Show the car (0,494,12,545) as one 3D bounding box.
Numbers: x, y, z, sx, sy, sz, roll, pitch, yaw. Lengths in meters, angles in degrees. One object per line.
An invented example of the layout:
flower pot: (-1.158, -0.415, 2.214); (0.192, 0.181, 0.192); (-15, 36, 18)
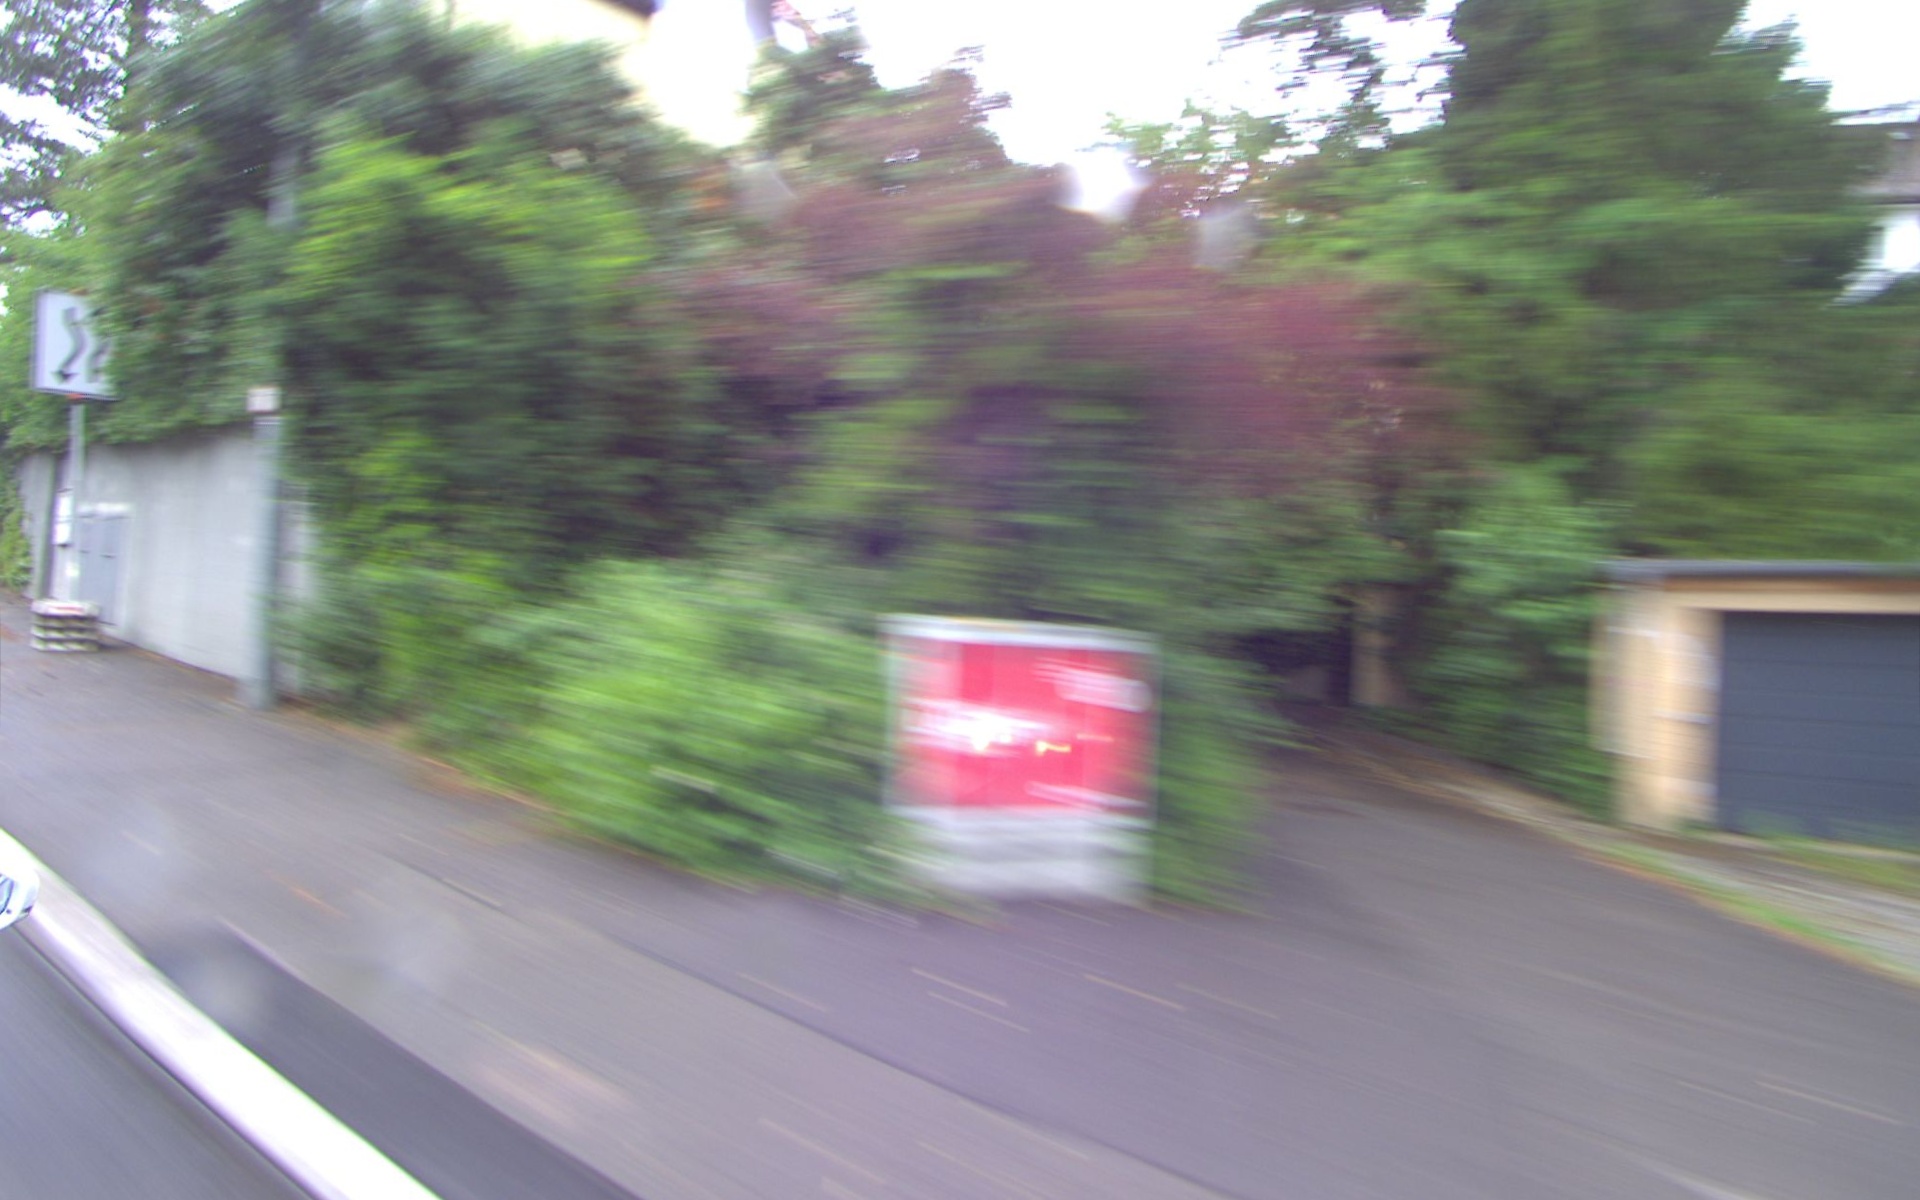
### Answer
car: (-36.694, -3.085, 37.054); (1.718, 1.918, 4.021); (5, 0, -32)
